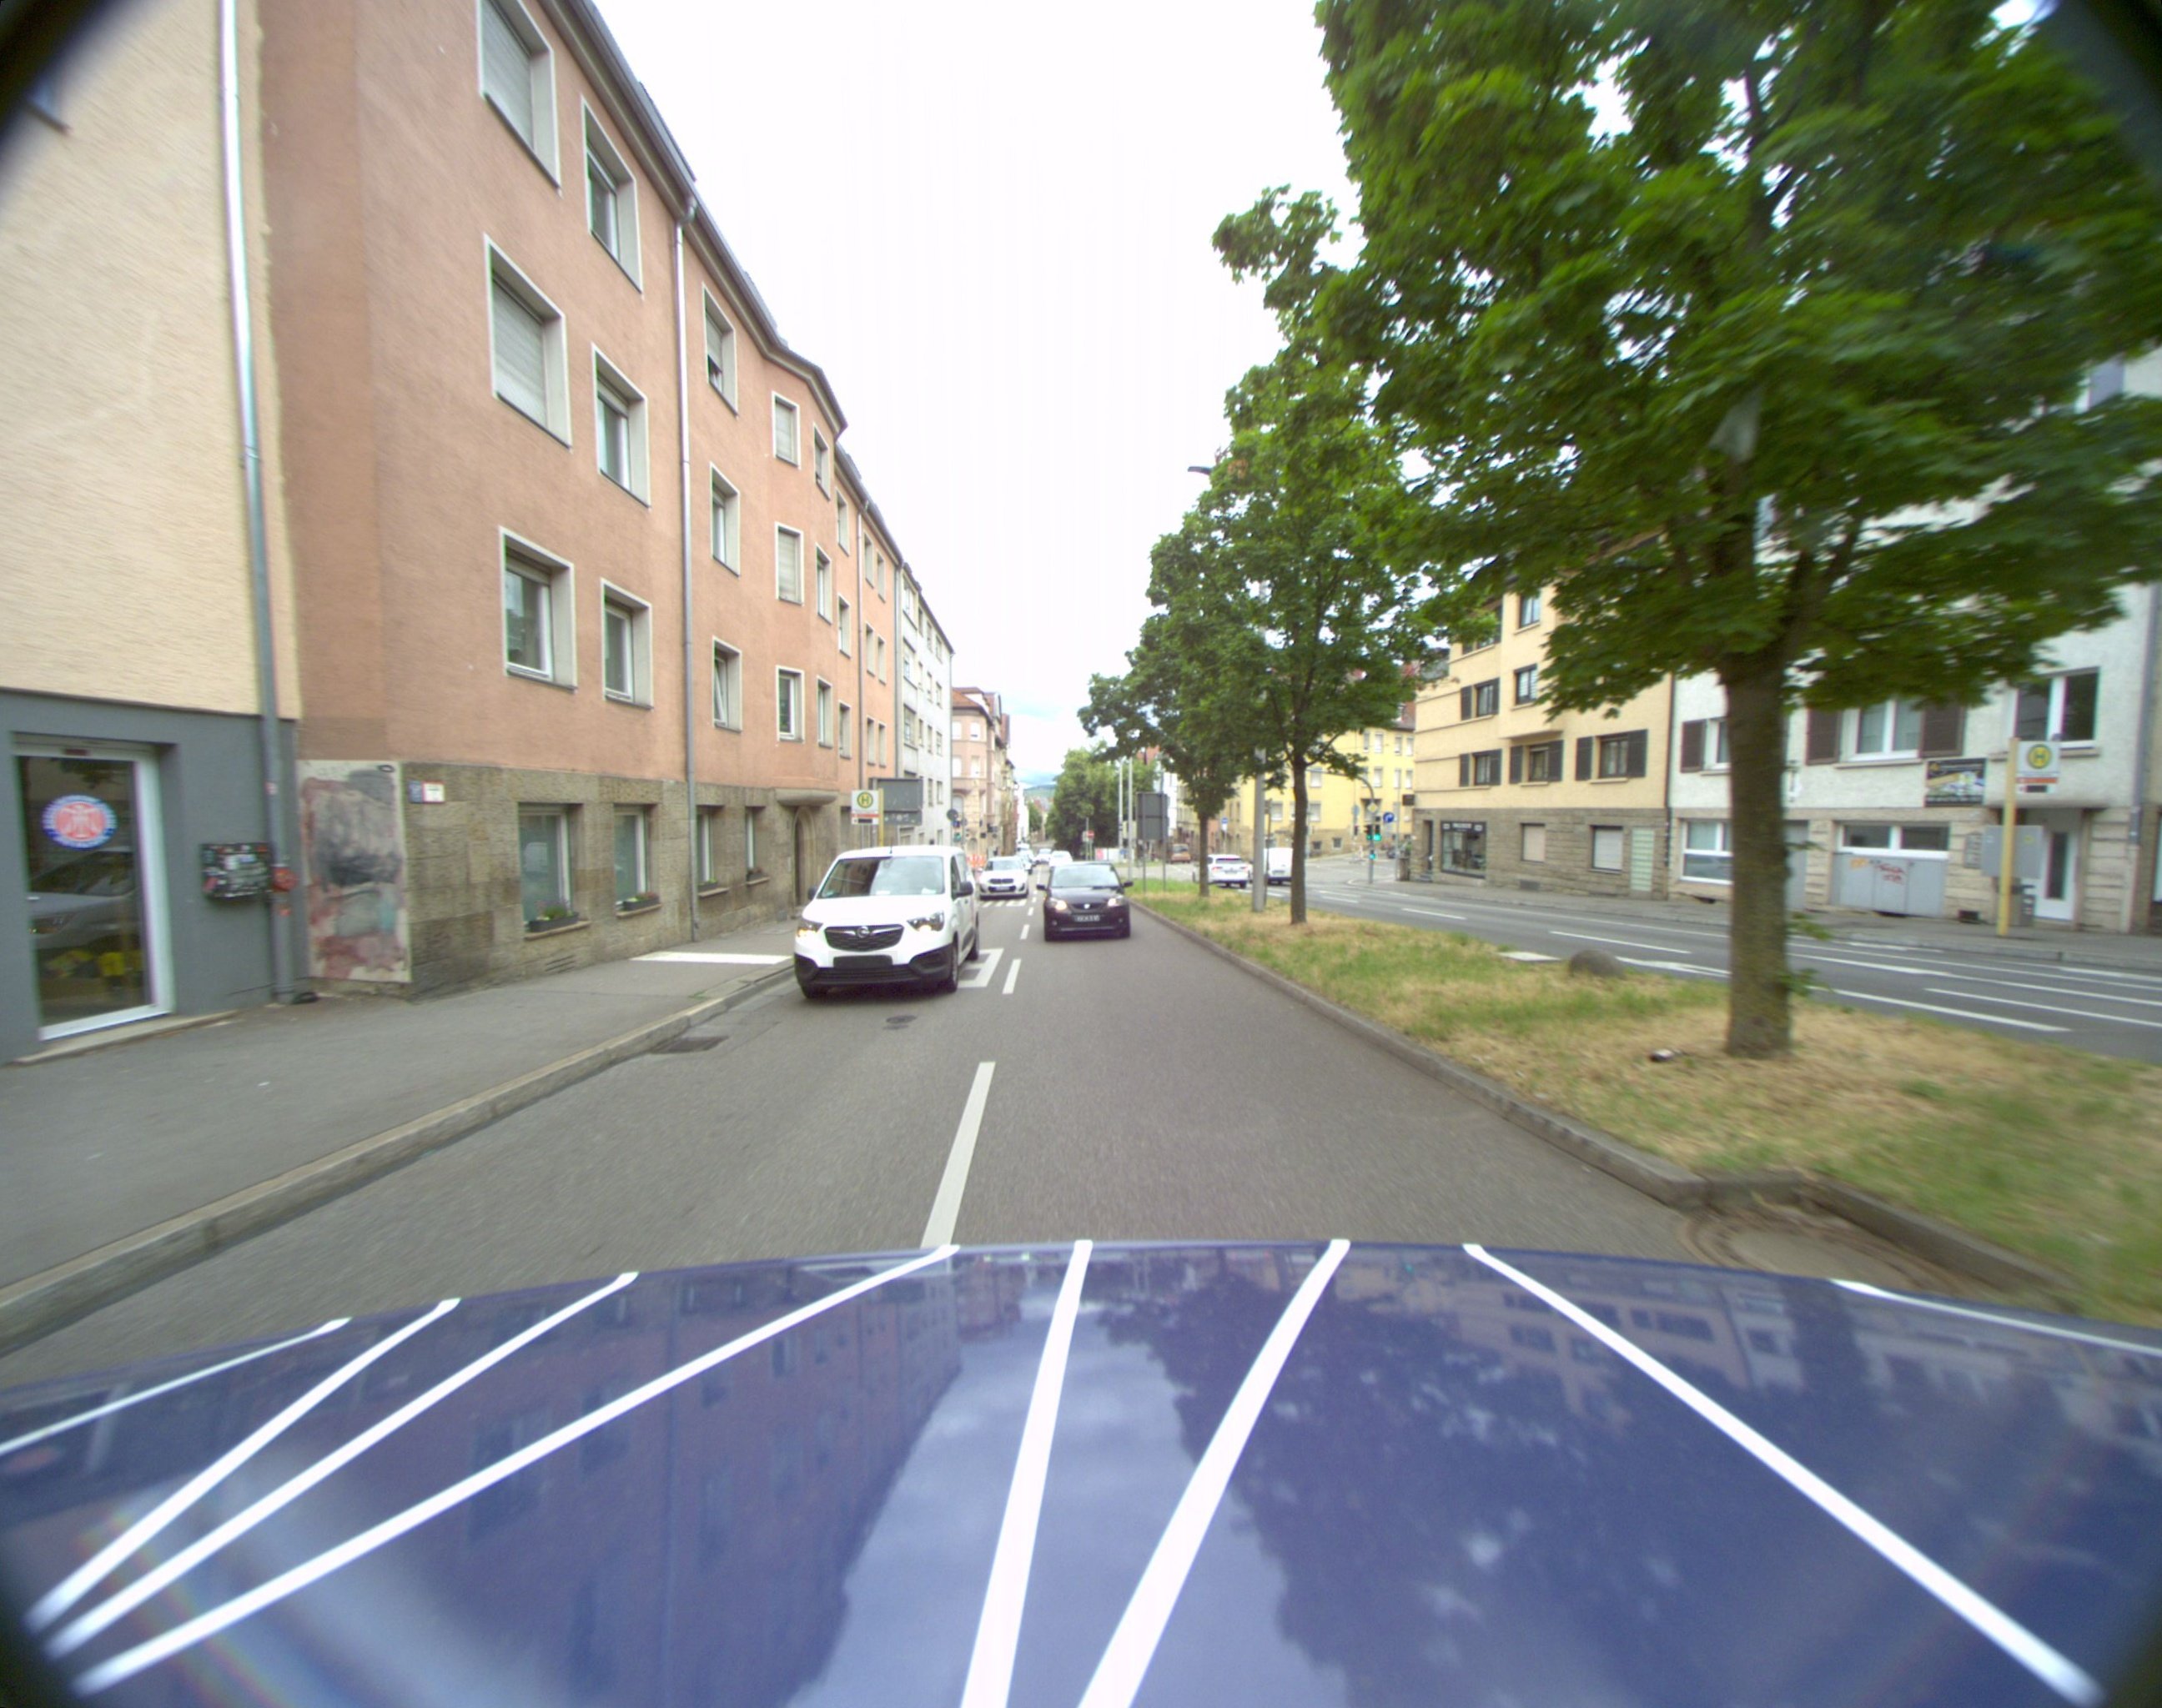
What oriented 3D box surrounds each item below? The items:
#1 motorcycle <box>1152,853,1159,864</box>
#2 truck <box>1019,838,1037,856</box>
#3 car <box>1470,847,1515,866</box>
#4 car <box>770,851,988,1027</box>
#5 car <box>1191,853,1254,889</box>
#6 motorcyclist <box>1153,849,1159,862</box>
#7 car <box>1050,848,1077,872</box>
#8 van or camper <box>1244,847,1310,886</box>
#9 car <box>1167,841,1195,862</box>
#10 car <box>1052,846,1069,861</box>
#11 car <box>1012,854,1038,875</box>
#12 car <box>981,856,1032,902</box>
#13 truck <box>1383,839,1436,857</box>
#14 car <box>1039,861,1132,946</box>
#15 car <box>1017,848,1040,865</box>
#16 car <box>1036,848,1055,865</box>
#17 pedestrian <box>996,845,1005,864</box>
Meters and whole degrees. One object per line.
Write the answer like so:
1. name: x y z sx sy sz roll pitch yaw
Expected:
1. motorcycle: 8.890 0.558 91.117 0.546 1.178 2.204 -1 2 -1
2. truck: -8.787 -1.141 125.689 2.553 2.891 7.775 1 1 -1
3. car: 37.609 0.180 69.455 3.862 1.711 1.858 -1 1 -30
4. car: -2.409 0.880 10.401 1.789 1.779 4.842 -2 1 -2
5. car: 6.230 0.703 34.037 1.750 1.459 4.584 0 1 -3
6. motorcyclist: 8.956 0.185 91.051 0.674 1.467 0.662 -1 1 -1
7. car: -1.312 0.432 56.707 1.785 1.584 3.530 2 2 -4
8. van or camper: 9.578 0.570 37.500 1.913 1.751 4.653 1 1 -2
9. car: 9.217 -0.199 70.593 1.884 1.805 4.351 -1 -1 -1
10. car: -2.449 -0.120 91.353 1.785 1.584 3.530 2 2 -4
11. car: -4.112 0.739 56.046 1.780 1.434 4.162 -3 0 -3
12. car: -2.932 0.946 30.545 1.780 1.598 4.162 -3 0 -3
13. truck: 27.771 -0.545 64.230 4.004 1.410 1.849 -2 1 -24
14. car: -0.013 0.903 15.380 1.604 1.448 3.683 -2 -1 -3
15. car: -4.789 0.228 69.328 1.842 1.477 3.999 1 1 0
16. car: -3.735 0.224 79.265 1.785 1.584 3.530 2 2 -4
17. pedestrian: -7.204 0.015 68.155 0.735 1.638 1.004 -1 1 -4
